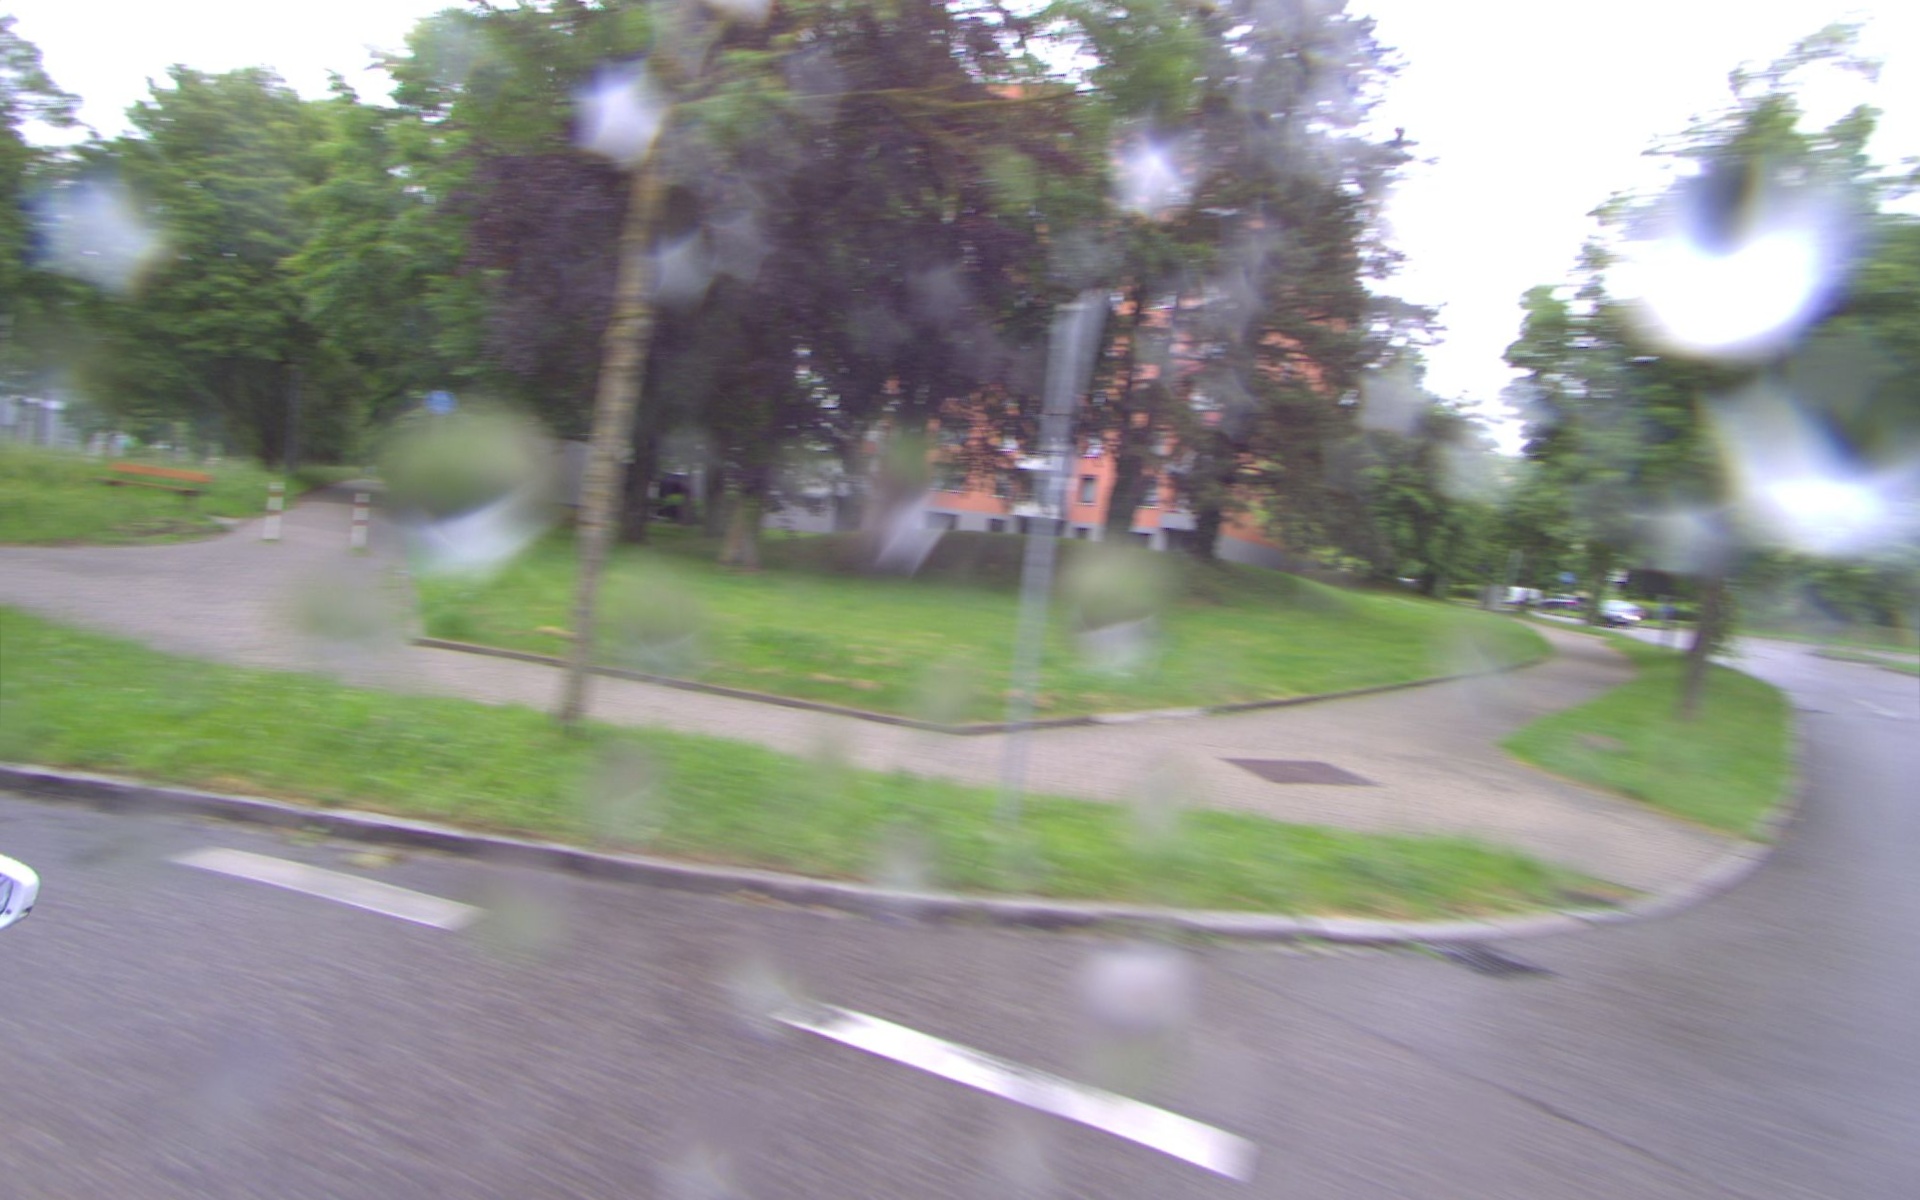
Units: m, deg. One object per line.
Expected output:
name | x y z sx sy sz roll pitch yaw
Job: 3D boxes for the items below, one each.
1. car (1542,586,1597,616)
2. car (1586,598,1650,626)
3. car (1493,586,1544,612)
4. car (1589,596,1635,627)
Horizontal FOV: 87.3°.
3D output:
car | 49.470 0.037 81.767 1.818 1.900 3.852 6 5 -2
car | 46.904 0.839 71.810 1.851 1.586 3.997 7 2 3
car | 48.643 -0.131 87.732 1.963 1.898 3.995 6 2 0
car | 37.861 0.653 58.489 1.599 1.461 3.588 9 5 24
